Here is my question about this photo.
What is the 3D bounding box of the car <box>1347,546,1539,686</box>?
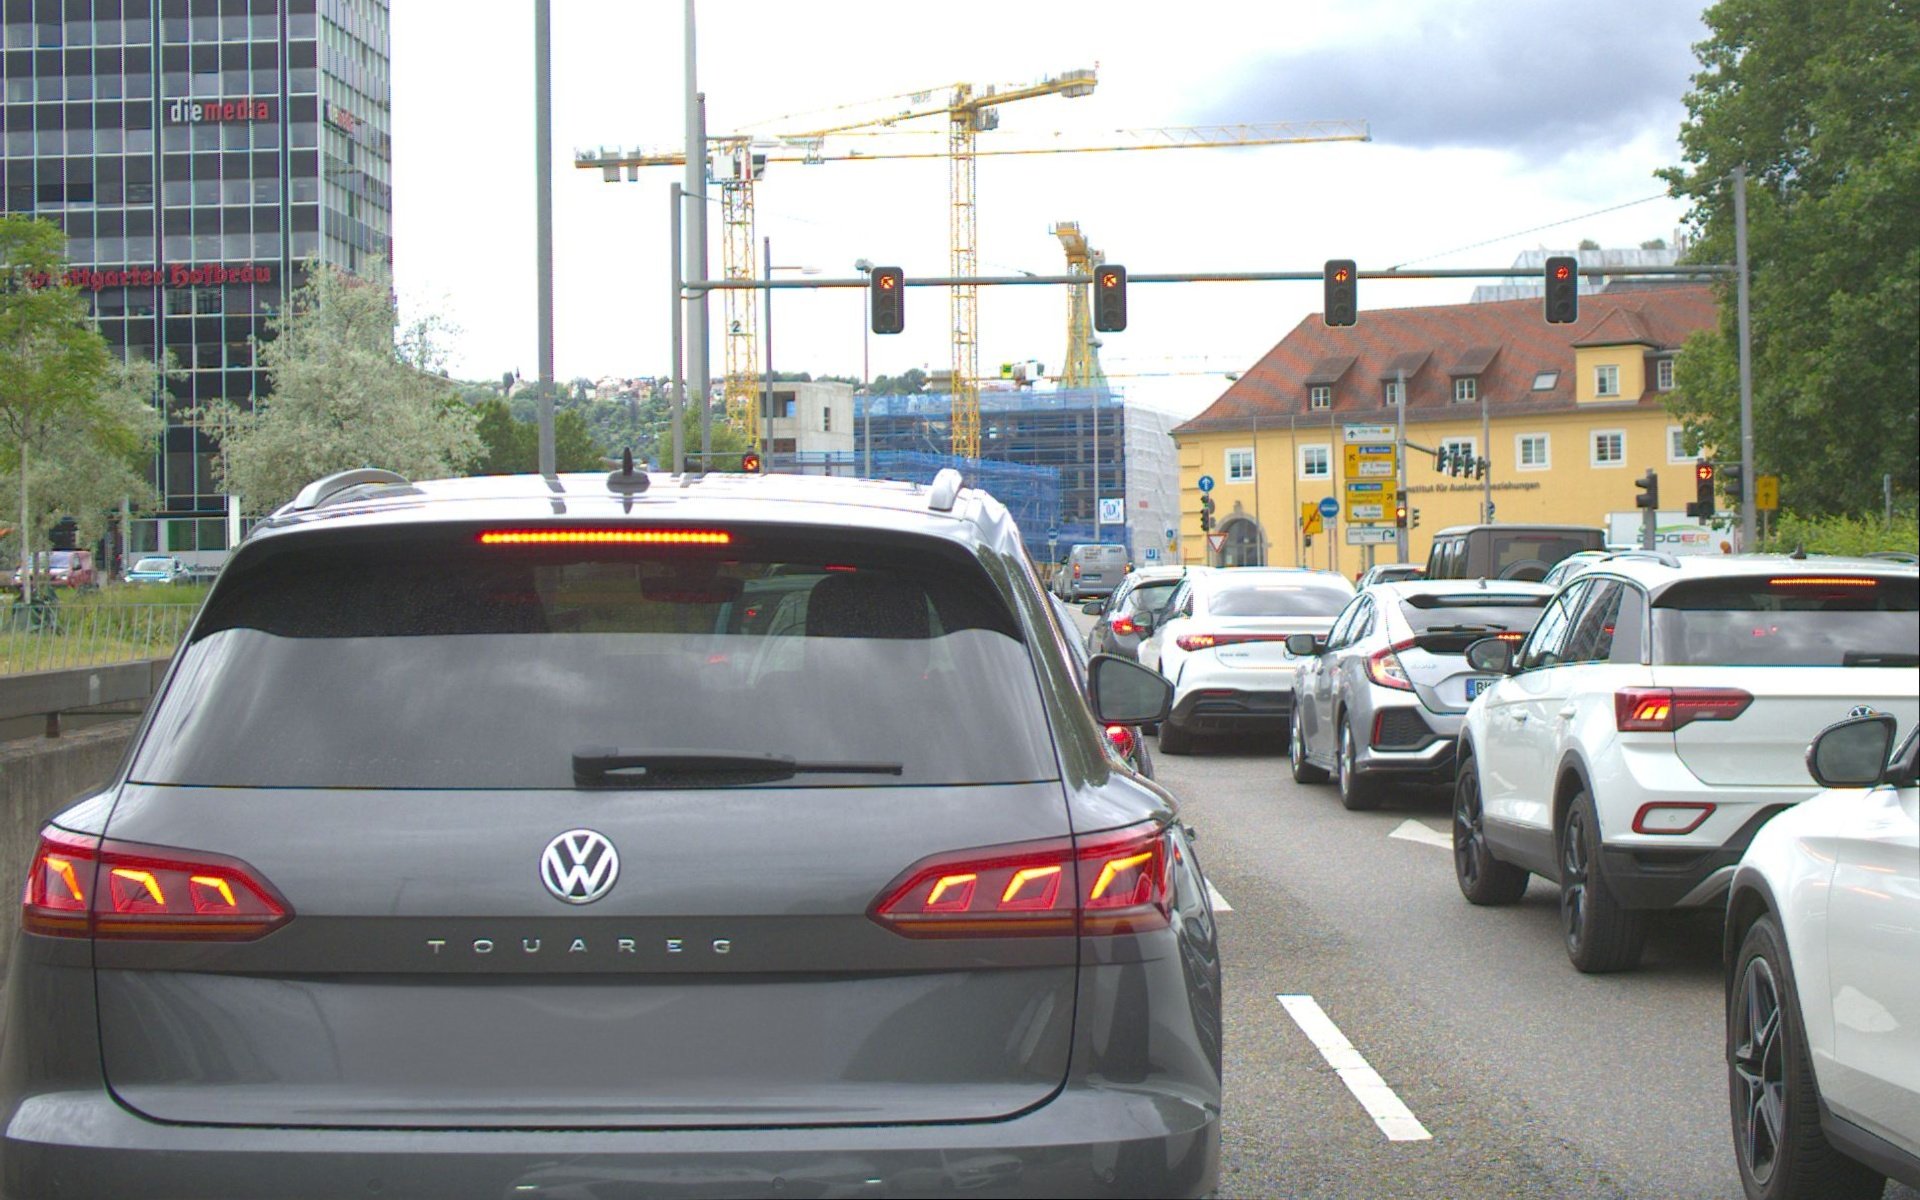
[{"bbox_3d":[6.228,0.188,44.690,1.910,1.691,4.012,1,0,0],"label":"car"}]

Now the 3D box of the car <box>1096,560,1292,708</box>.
[{"bbox_3d":[2.511,0.349,37.743,1.926,1.524,4.047,0,0,1],"label":"car"}]

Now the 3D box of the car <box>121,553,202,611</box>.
[{"bbox_3d":[-29.843,-0.687,128.676,1.993,2.006,4.692,0,2,-1],"label":"car"}]

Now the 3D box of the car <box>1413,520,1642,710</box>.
[{"bbox_3d":[6.392,0.156,39.110,1.910,2.007,4.012,1,0,0],"label":"car"}]

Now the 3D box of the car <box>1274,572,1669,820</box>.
[{"bbox_3d":[3.174,0.554,22.197,1.926,1.427,4.489,0,0,1],"label":"car"}]

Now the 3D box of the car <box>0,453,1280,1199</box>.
[{"bbox_3d":[-0.572,0.602,6.660,1.951,1.646,4.000,0,1,-1],"label":"car"}]

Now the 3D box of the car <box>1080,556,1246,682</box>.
[{"bbox_3d":[2.554,0.228,44.030,1.926,1.524,4.047,0,0,1],"label":"car"}]

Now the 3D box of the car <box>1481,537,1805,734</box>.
[{"bbox_3d":[6.330,0.272,32.364,1.993,1.634,4.305,0,2,-3],"label":"car"}]

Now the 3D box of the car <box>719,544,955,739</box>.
[{"bbox_3d":[-1.070,0.329,31.025,1.951,1.594,3.931,1,1,-1],"label":"car"}]

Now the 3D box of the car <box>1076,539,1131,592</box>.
[{"bbox_3d":[4.636,-1.104,111.401,1.619,1.622,4.000,1,-1,0],"label":"car"}]

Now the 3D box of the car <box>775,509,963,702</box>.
[{"bbox_3d":[-0.999,0.035,38.558,1.951,2.011,3.931,1,1,-1],"label":"car"}]

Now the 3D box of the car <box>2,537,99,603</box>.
[{"bbox_3d":[-29.774,-1.006,112.672,1.993,2.006,4.692,0,2,-1],"label":"car"}]

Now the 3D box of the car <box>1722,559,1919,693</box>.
[{"bbox_3d":[10.208,0.309,40.106,1.931,1.455,4.526,1,0,4],"label":"car"}]

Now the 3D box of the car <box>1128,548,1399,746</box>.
[{"bbox_3d":[2.465,0.362,28.922,1.926,1.524,4.489,0,0,1],"label":"car"}]

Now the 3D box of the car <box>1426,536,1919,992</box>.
[{"bbox_3d":[3.138,0.556,13.947,1.926,1.545,4.489,0,0,1],"label":"car"}]

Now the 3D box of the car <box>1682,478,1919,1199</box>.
[{"bbox_3d":[2.716,0.604,6.204,1.926,1.648,4.490,0,1,1],"label":"car"}]

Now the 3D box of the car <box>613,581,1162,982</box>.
[{"bbox_3d":[-0.290,0.647,14.398,1.951,1.379,3.931,1,1,-1],"label":"car"}]
